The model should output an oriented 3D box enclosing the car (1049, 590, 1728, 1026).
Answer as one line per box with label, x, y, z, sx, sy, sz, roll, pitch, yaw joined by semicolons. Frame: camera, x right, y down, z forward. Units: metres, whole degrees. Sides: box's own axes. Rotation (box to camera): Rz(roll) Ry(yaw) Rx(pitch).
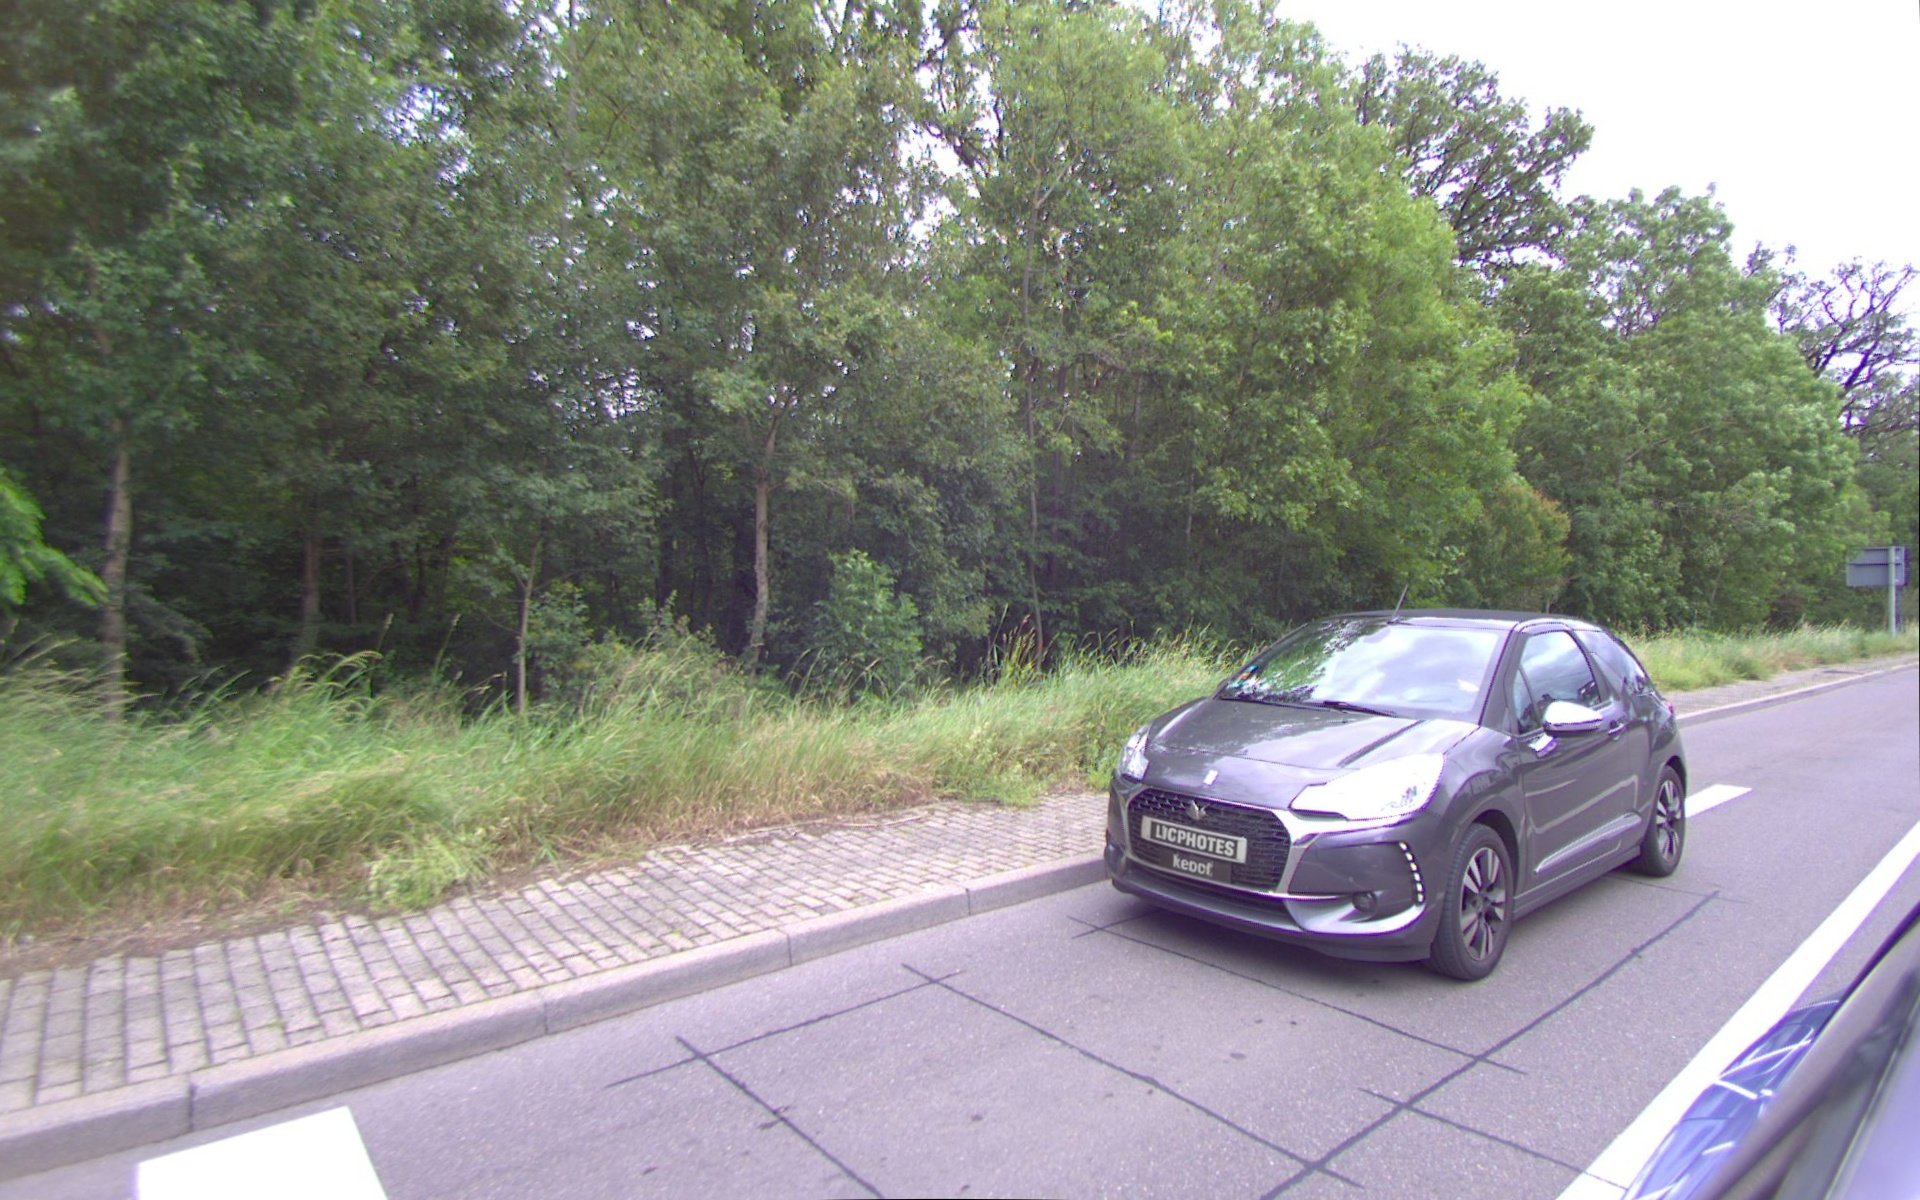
car;2.423;0.704;5.313;3.786;1.476;1.729;0;0;-39
